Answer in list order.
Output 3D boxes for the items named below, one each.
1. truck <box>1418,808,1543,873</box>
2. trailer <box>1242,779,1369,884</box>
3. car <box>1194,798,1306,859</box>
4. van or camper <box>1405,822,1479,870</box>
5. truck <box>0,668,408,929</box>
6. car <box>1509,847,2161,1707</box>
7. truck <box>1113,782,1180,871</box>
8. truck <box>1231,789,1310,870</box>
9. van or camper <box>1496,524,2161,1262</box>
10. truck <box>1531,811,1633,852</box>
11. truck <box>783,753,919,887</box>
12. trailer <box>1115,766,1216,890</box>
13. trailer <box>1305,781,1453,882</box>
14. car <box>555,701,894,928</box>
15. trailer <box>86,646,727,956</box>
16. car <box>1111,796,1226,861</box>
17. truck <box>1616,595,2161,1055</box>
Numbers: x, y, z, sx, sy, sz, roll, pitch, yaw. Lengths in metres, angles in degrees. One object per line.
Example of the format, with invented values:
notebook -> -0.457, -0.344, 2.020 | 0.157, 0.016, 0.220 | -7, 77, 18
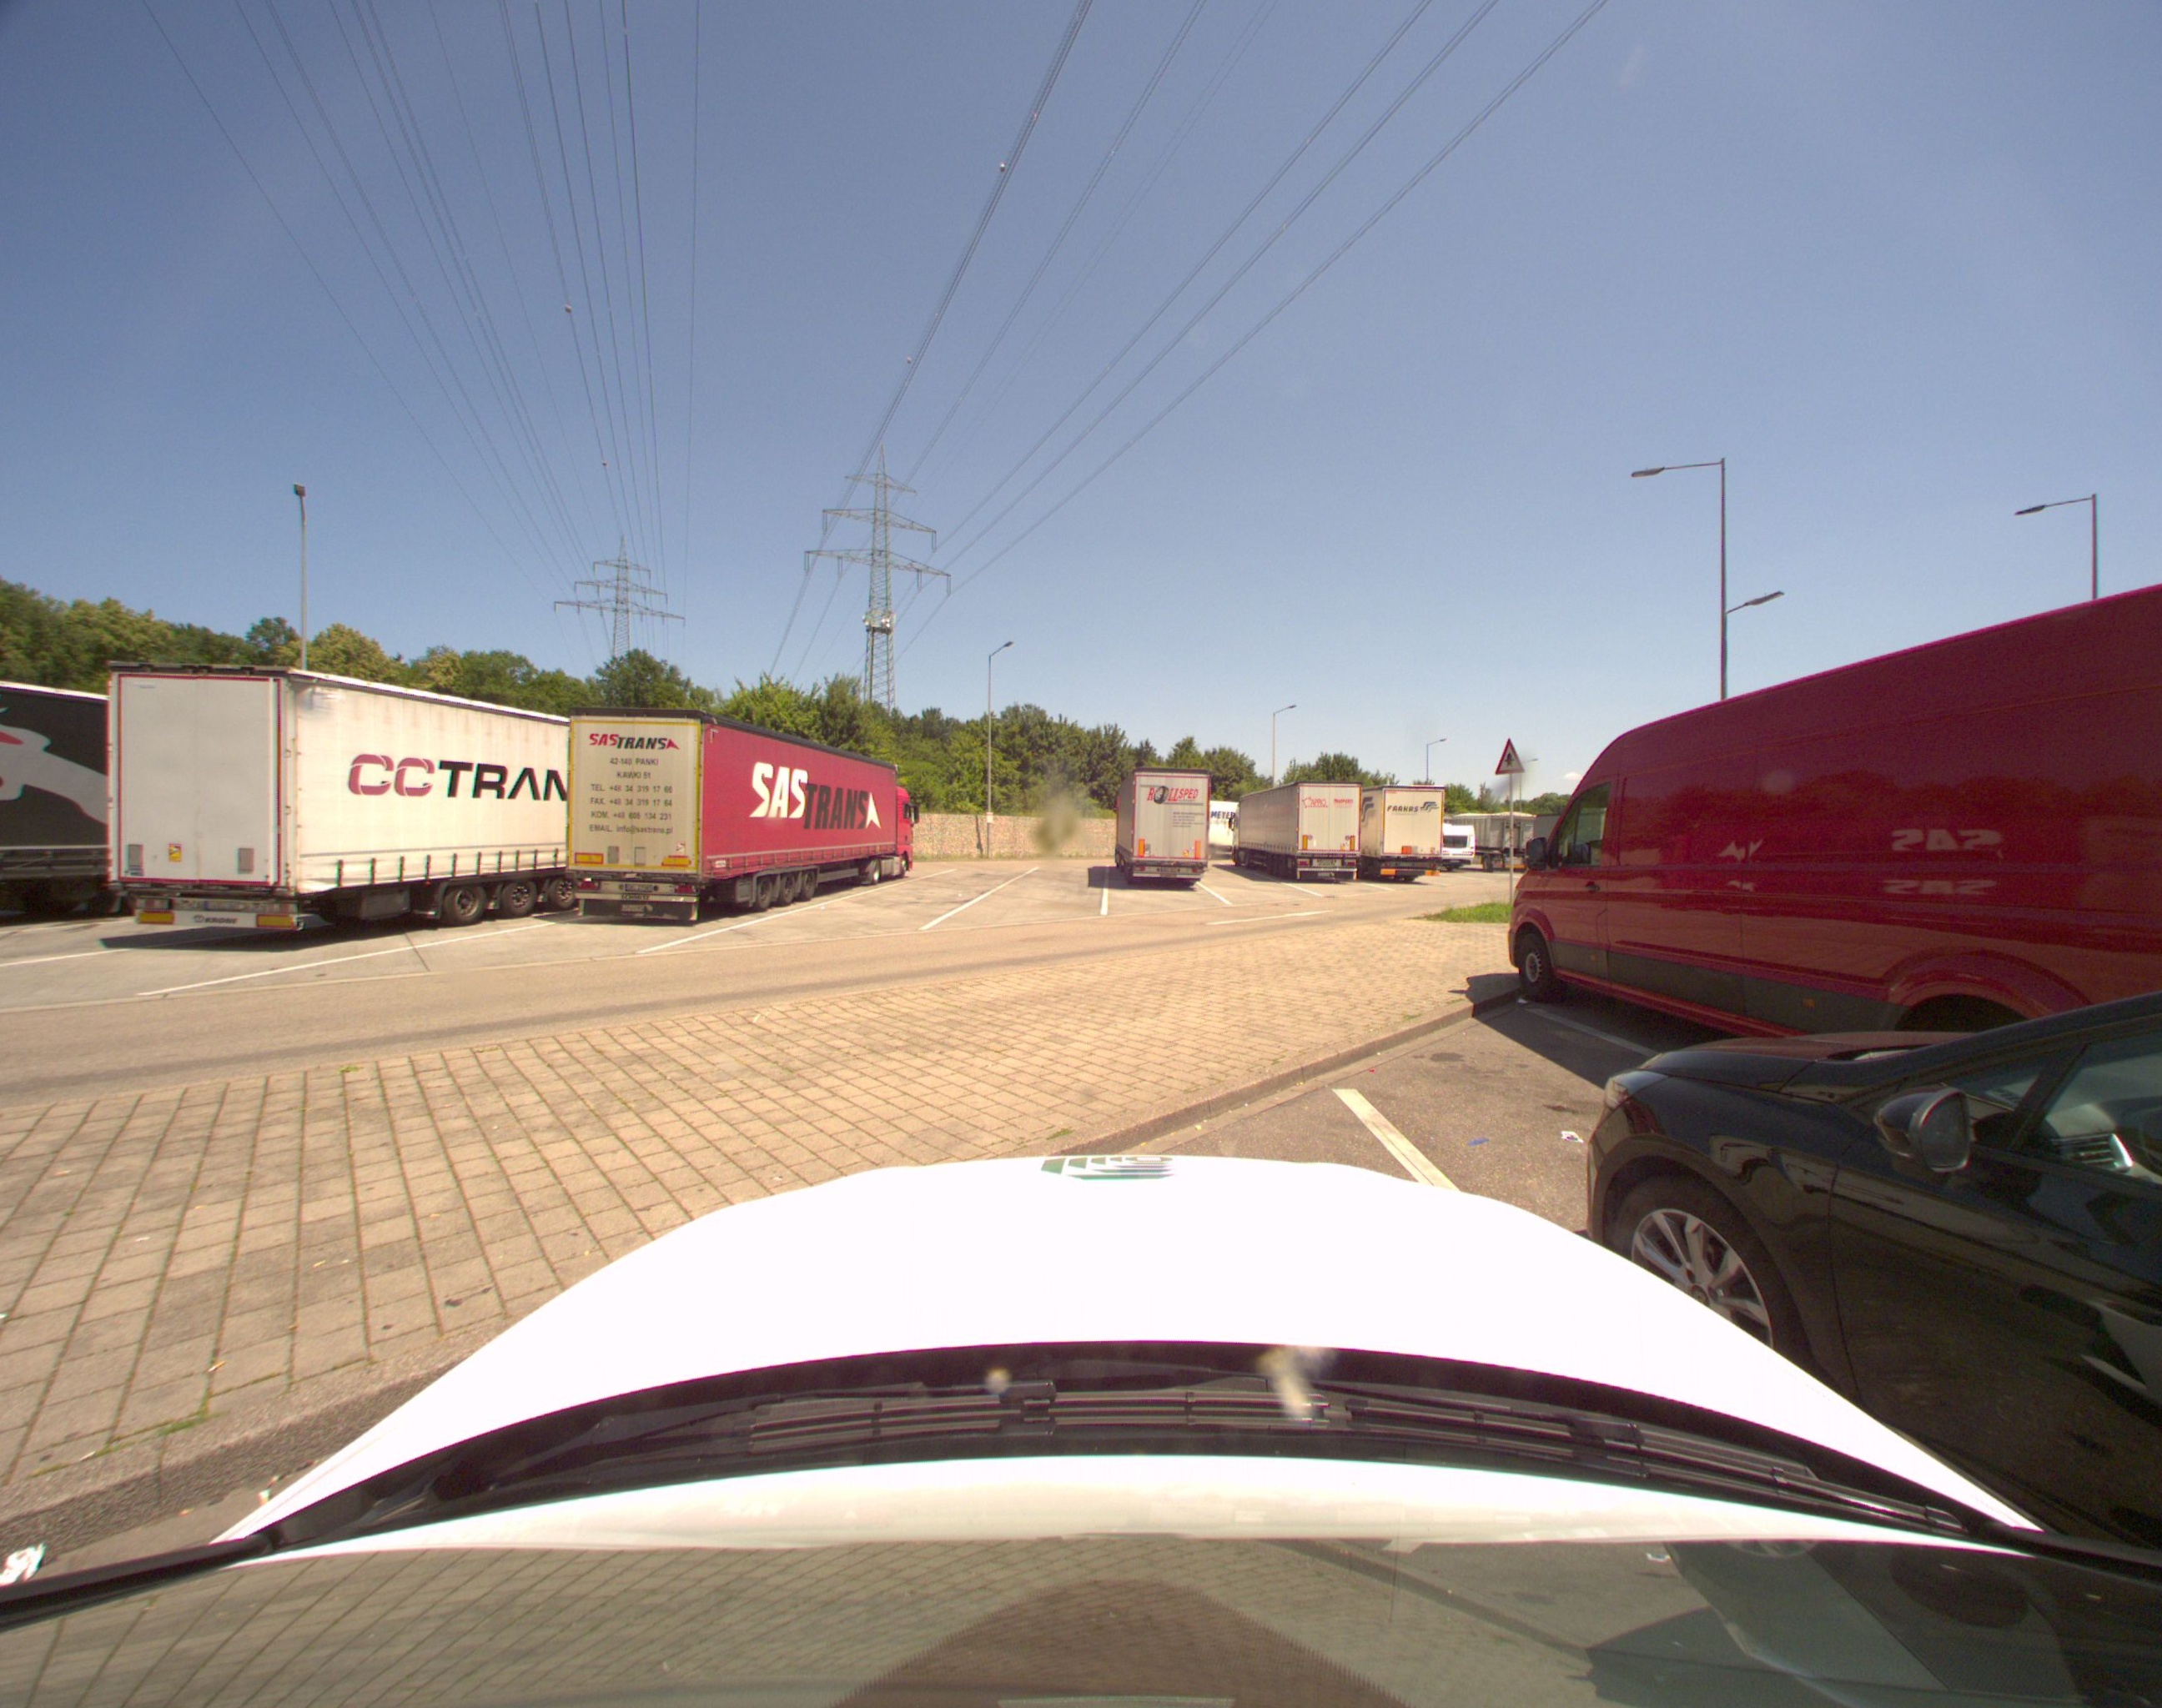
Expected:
truck -> 24.309, -0.962, 50.472 | 2.478, 3.568, 11.429 | 0, 2, 2
trailer -> 9.961, -1.106, 37.876 | 2.855, 4.037, 12.445 | 0, 2, 2
car -> 12.745, -1.876, 60.651 | 10.274, 4.188, 2.656 | -1, 3, -43
van or camper -> 20.599, -0.470, 46.714 | 2.096, 2.561, 5.376 | -1, 1, 3
truck -> -18.614, -1.020, 16.248 | 2.803, 4.190, 8.793 | 0, 2, 2
car -> 2.457, 0.750, 1.116 | 1.612, 1.483, 3.762 | -1, 1, -4
truck -> 3.146, -1.394, 40.792 | 2.857, 4.037, 7.029 | 0, 2, 1
truck -> 10.188, -1.370, 44.508 | 2.856, 4.037, 6.960 | 0, 2, 2
van or camper -> 5.141, 0.095, 5.467 | 1.986, 2.654, 6.490 | -1, 1, 6
truck -> 38.044, -1.652, 62.349 | 2.117, 2.820, 9.783 | -1, 1, 2
truck -> -7.744, -1.152, 28.326 | 2.686, 4.112, 6.243 | 1, 2, 2
trailer -> 3.052, -1.105, 33.704 | 2.857, 4.037, 14.244 | 0, 2, 1
trailer -> 13.648, -1.127, 38.851 | 2.855, 4.037, 12.445 | 0, 2, 2
car -> -8.044, -0.934, 21.409 | 2.686, 4.112, 12.943 | 1, 2, 2
trailer -> -12.159, -0.974, 17.766 | 2.803, 4.266, 12.947 | 0, 2, 2
car -> 5.942, -1.694, 54.167 | 8.516, 4.043, 2.656 | -1, 3, -44
truck -> 7.942, -0.217, 7.039 | 2.455, 2.792, 6.978 | 0, 1, 4
